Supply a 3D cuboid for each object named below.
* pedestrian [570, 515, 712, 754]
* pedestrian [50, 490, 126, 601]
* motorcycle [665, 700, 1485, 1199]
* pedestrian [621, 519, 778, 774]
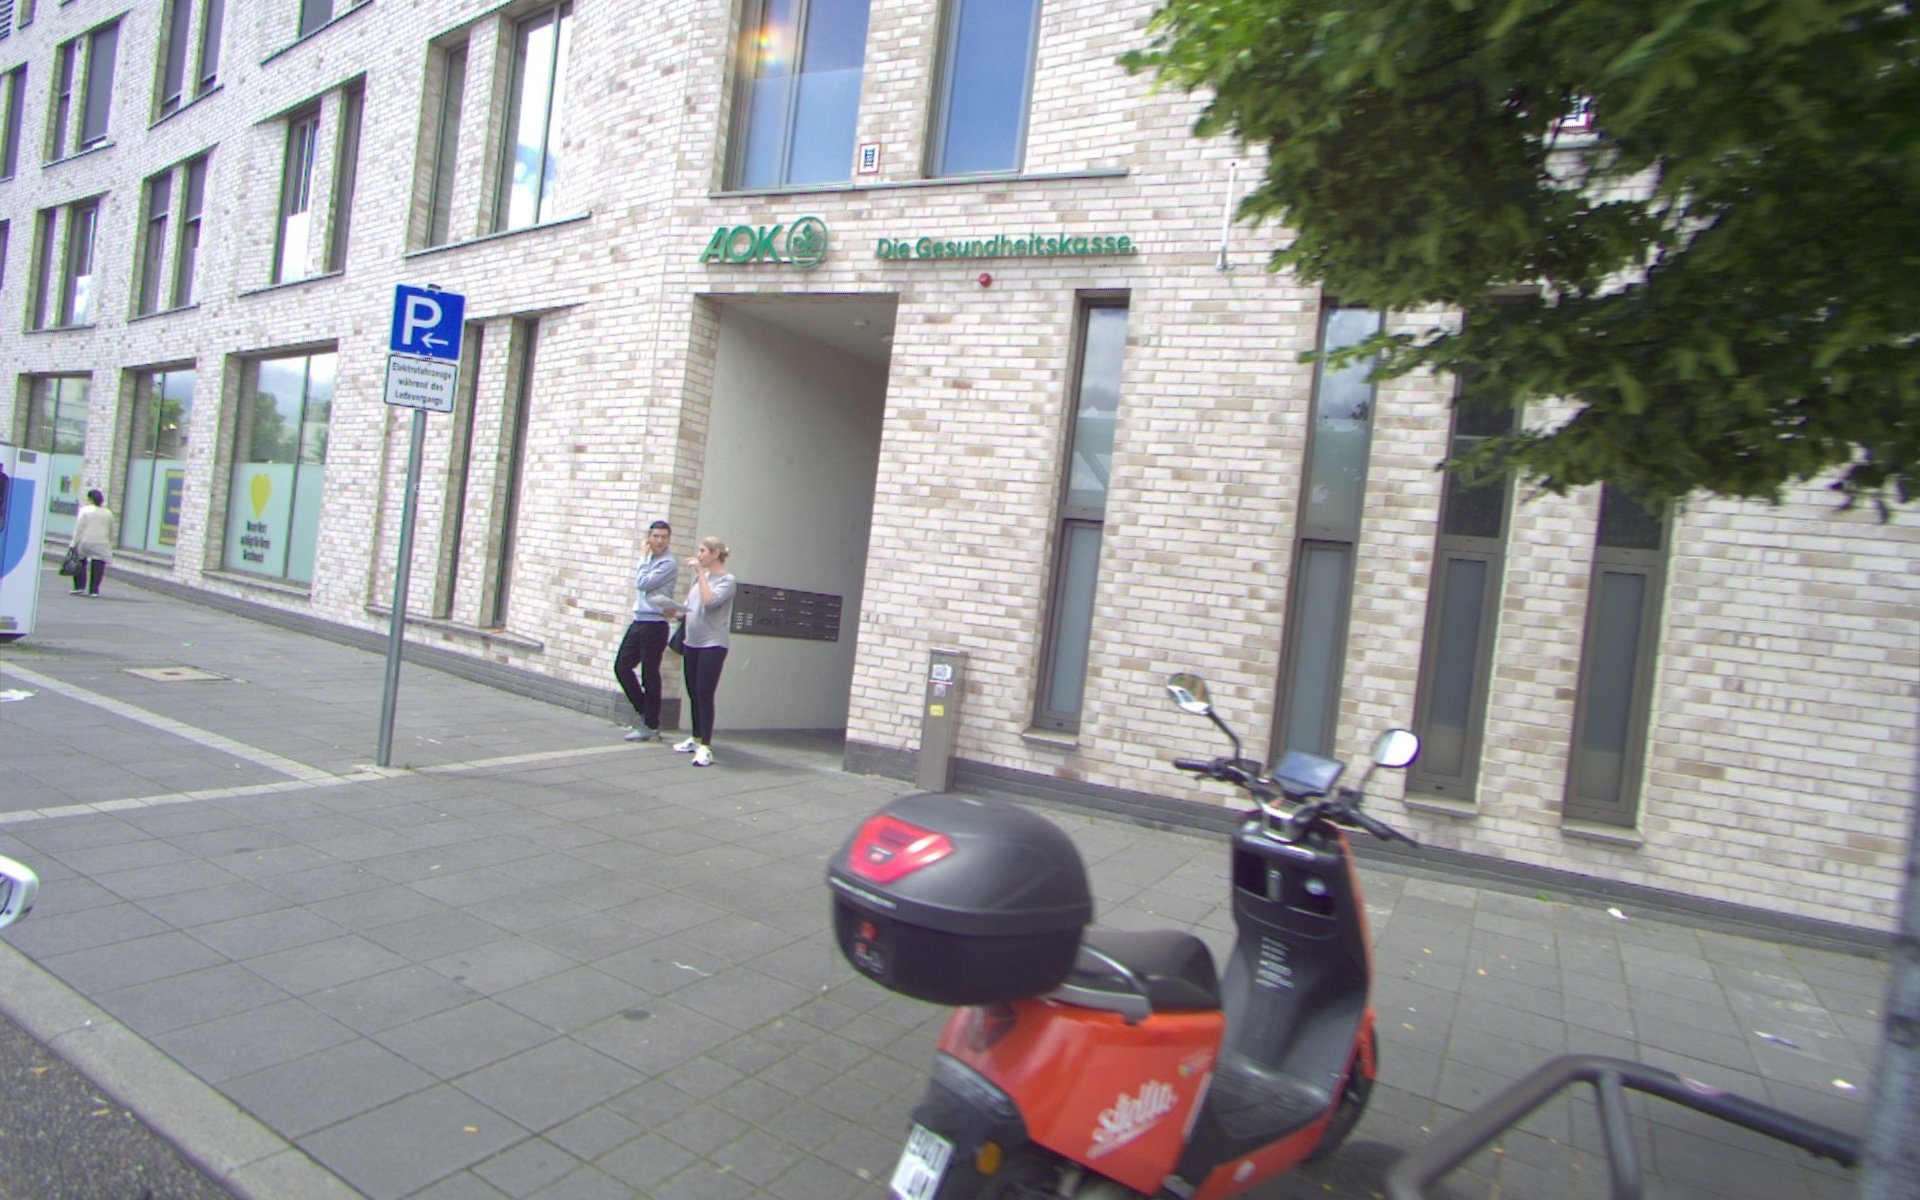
[{"bbox_3d":[-2.549,0.272,8.089,0.612,1.789,0.737,6,1,23],"label":"pedestrian"},{"bbox_3d":[-12.504,-0.779,14.427,0.779,1.492,0.606,8,2,38],"label":"pedestrian"},{"bbox_3d":[0.431,0.920,2.347,2.042,1.282,0.665,4,1,-43],"label":"motorcycle"},{"bbox_3d":[-1.969,0.342,7.676,0.743,1.789,0.735,5,1,16],"label":"pedestrian"}]
